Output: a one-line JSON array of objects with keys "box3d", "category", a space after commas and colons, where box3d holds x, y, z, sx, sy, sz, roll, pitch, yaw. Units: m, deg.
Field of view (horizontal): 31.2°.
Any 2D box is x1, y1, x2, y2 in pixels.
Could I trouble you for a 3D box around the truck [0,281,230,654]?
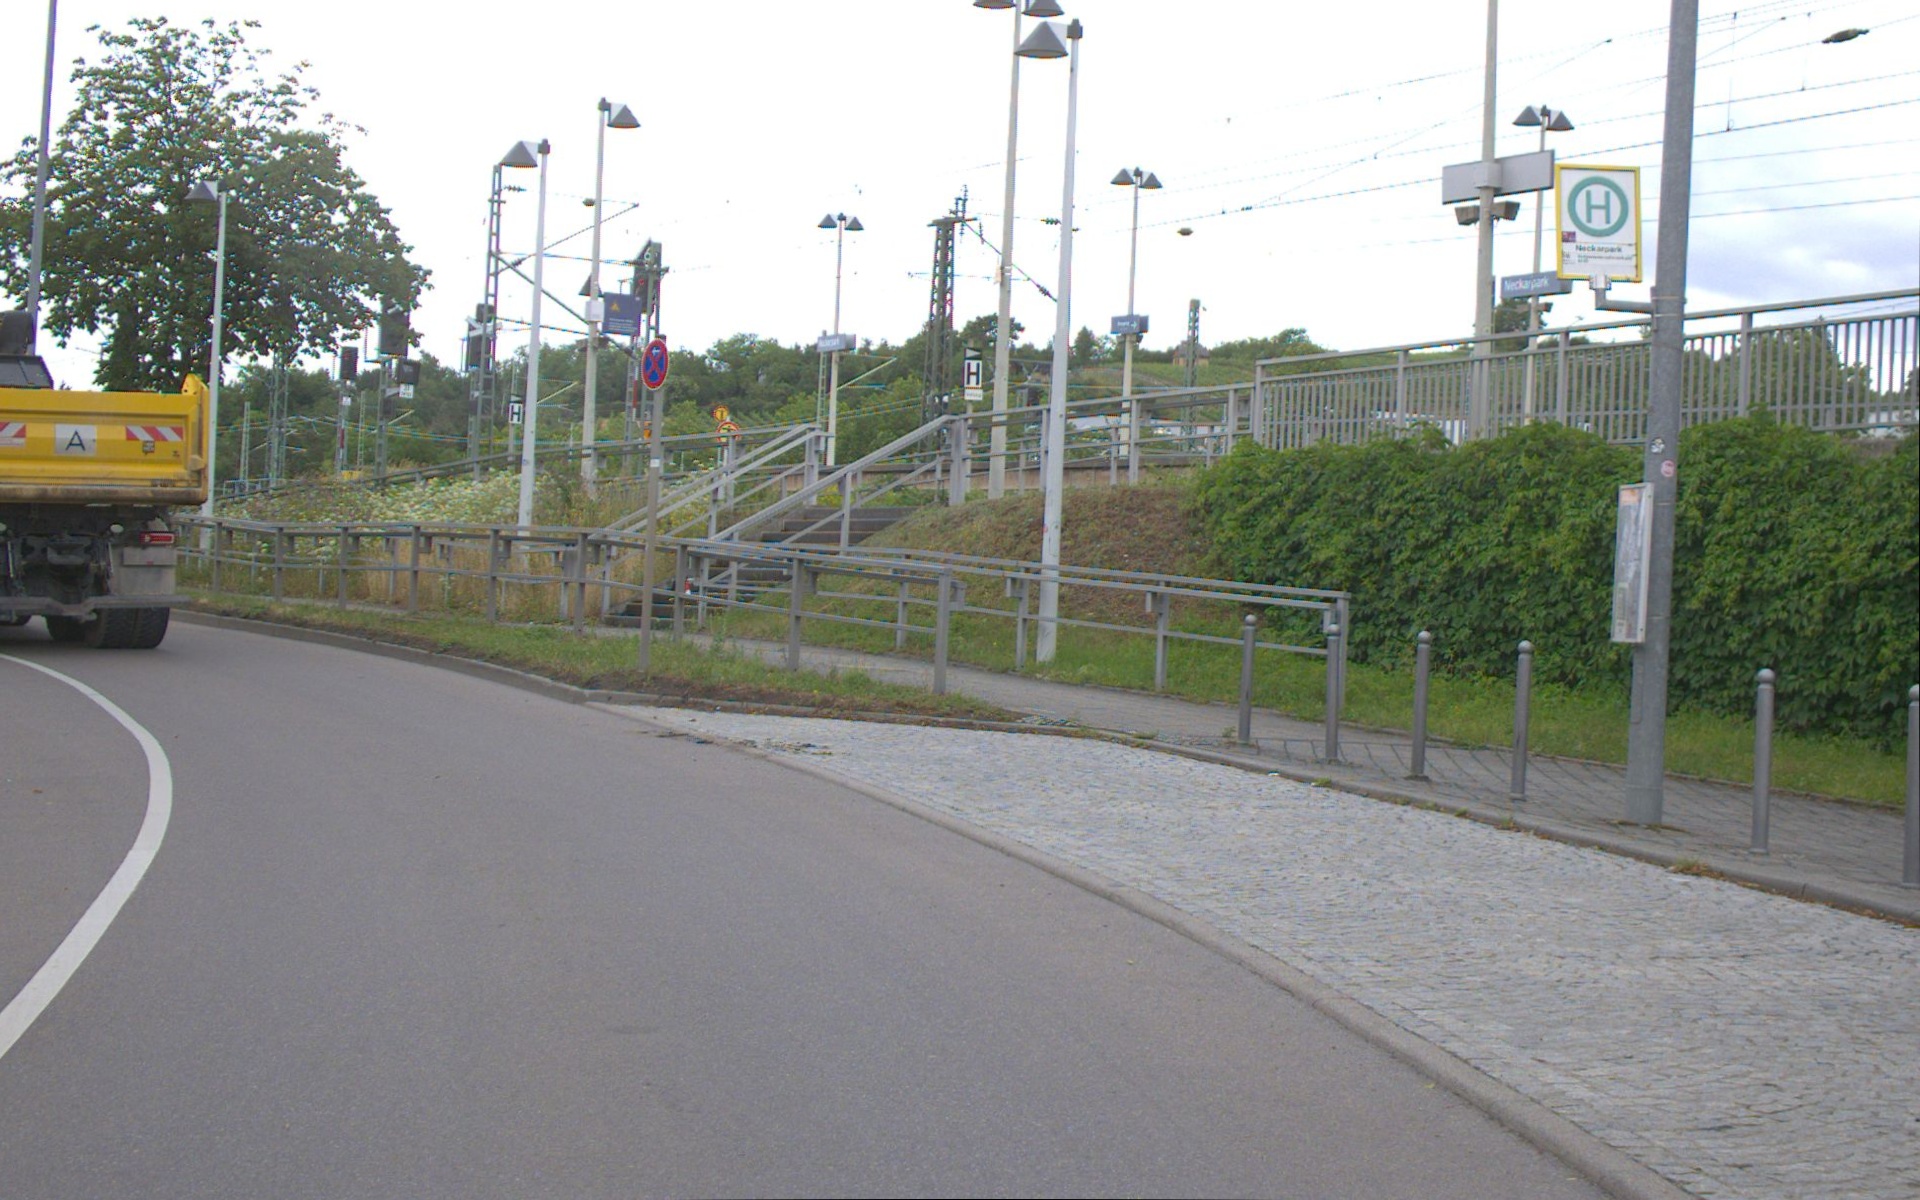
[{"box3d": [-10.346, -1.439, 36.102, 2.764, 3.471, 8.130, 1, 2, -30], "category": "truck"}]
